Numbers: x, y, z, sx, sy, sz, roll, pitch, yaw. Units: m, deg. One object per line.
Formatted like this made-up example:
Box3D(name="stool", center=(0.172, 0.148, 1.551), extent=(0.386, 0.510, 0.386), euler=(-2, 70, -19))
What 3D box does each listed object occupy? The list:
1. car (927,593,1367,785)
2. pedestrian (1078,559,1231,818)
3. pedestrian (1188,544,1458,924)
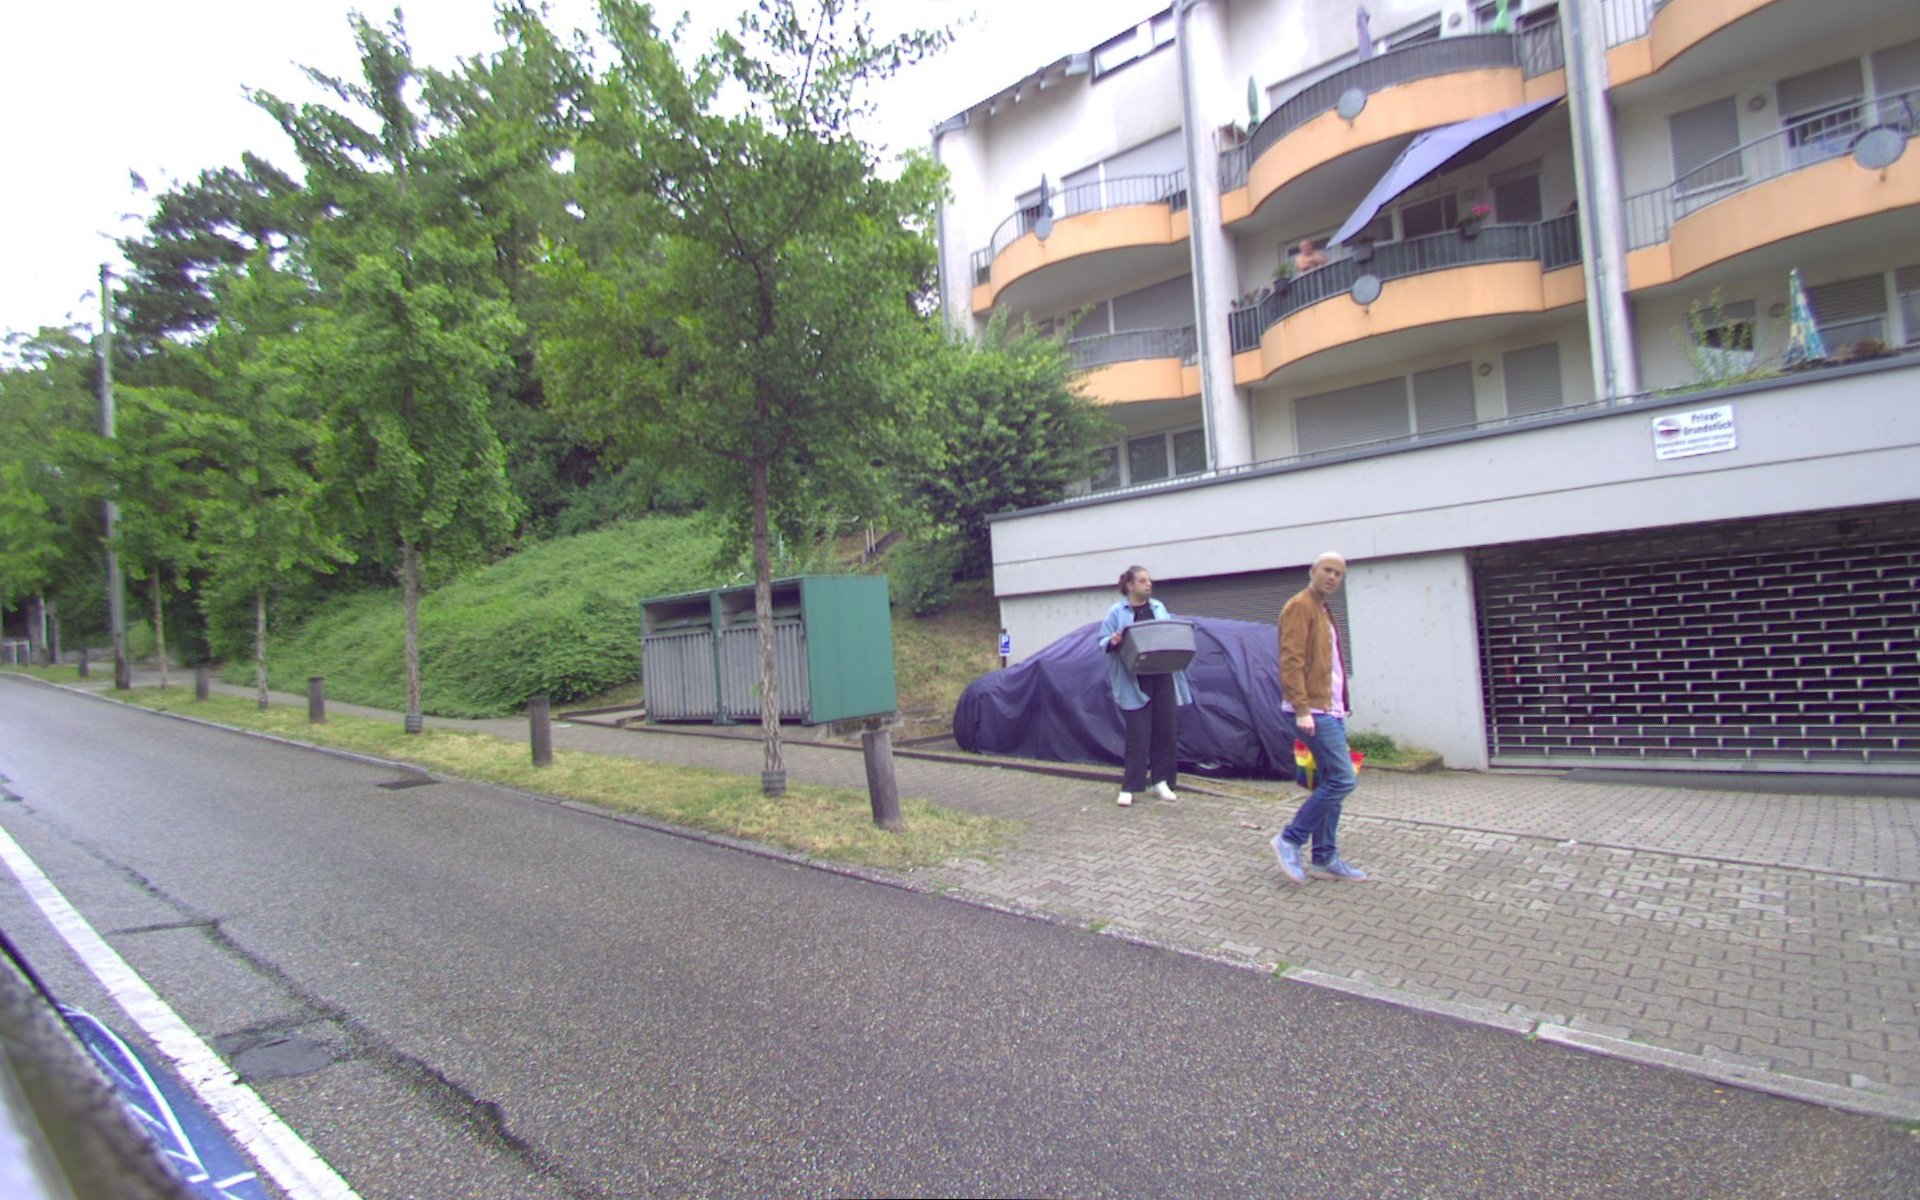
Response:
Box3D(name="car", center=(1.767, 0.824, 10.337), extent=(4.096, 1.573, 1.759), euler=(-2, -5, 41))
Box3D(name="pedestrian", center=(1.442, 0.614, 7.693), extent=(0.812, 1.795, 1.074), euler=(-2, 1, -5))
Box3D(name="pedestrian", center=(1.941, 0.624, 5.442), extent=(0.812, 1.795, 1.074), euler=(-3, 2, -44))
